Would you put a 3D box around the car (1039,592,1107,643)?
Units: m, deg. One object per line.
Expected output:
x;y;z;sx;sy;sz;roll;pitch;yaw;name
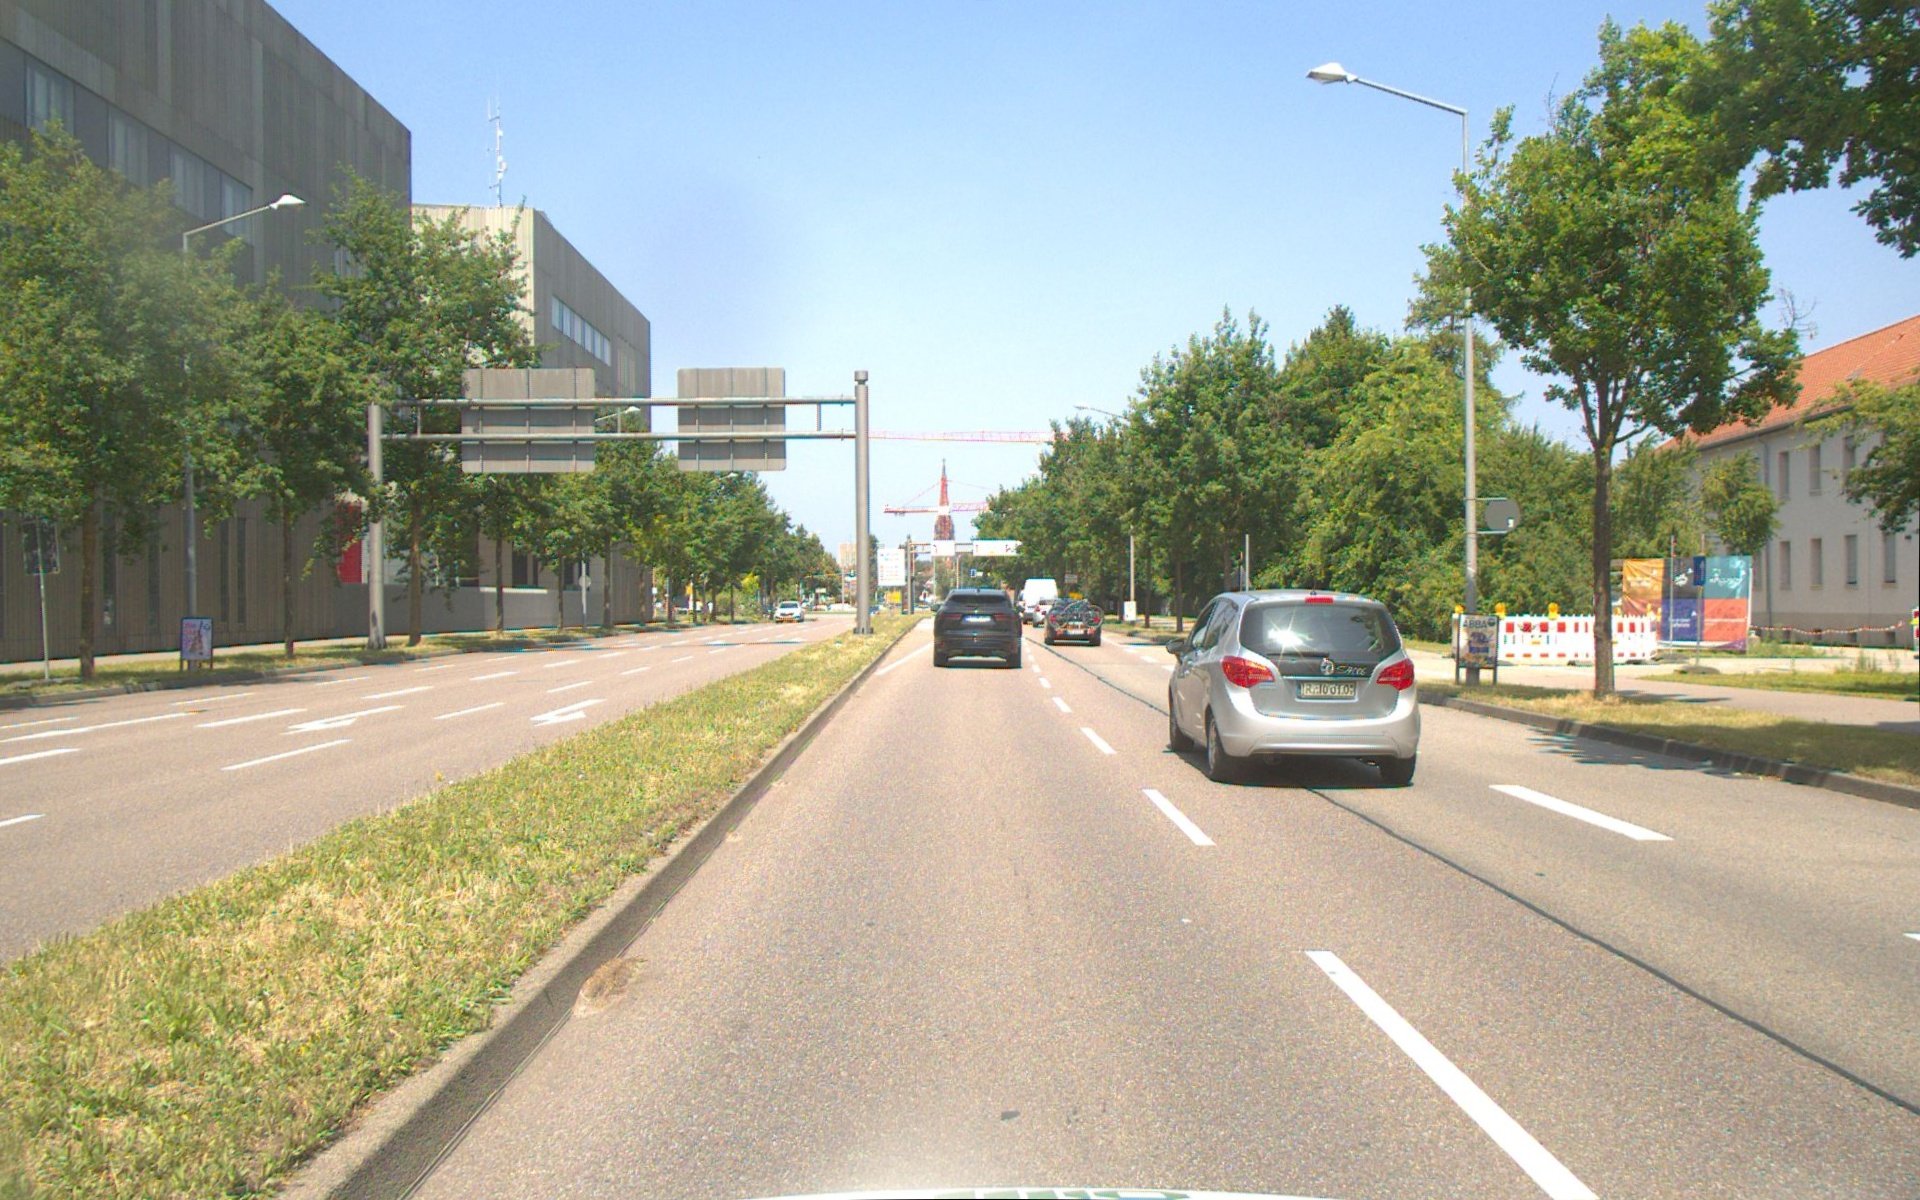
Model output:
3.595;0.551;53.253;1.972;1.544;4.461;-1;0;1;car

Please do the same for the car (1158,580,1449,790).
2.948;0.663;15.020;1.756;1.640;3.890;-1;0;-1;car

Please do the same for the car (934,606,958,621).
-1.287;1.256;151.639;1.954;1.344;3.996;0;0;-5;car

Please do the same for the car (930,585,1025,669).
0.394;0.557;36.427;1.957;1.719;4.034;1;0;1;car

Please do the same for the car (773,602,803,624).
-12.105;0.893;116.542;1.774;1.452;4.356;-2;0;-2;car

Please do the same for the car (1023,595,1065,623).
4.250;0.466;84.311;1.622;1.380;4.456;-1;0;-4;car

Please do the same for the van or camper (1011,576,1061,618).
4.334;-0.133;95.323;2.443;2.331;4.918;-1;0;-3;van or camper
